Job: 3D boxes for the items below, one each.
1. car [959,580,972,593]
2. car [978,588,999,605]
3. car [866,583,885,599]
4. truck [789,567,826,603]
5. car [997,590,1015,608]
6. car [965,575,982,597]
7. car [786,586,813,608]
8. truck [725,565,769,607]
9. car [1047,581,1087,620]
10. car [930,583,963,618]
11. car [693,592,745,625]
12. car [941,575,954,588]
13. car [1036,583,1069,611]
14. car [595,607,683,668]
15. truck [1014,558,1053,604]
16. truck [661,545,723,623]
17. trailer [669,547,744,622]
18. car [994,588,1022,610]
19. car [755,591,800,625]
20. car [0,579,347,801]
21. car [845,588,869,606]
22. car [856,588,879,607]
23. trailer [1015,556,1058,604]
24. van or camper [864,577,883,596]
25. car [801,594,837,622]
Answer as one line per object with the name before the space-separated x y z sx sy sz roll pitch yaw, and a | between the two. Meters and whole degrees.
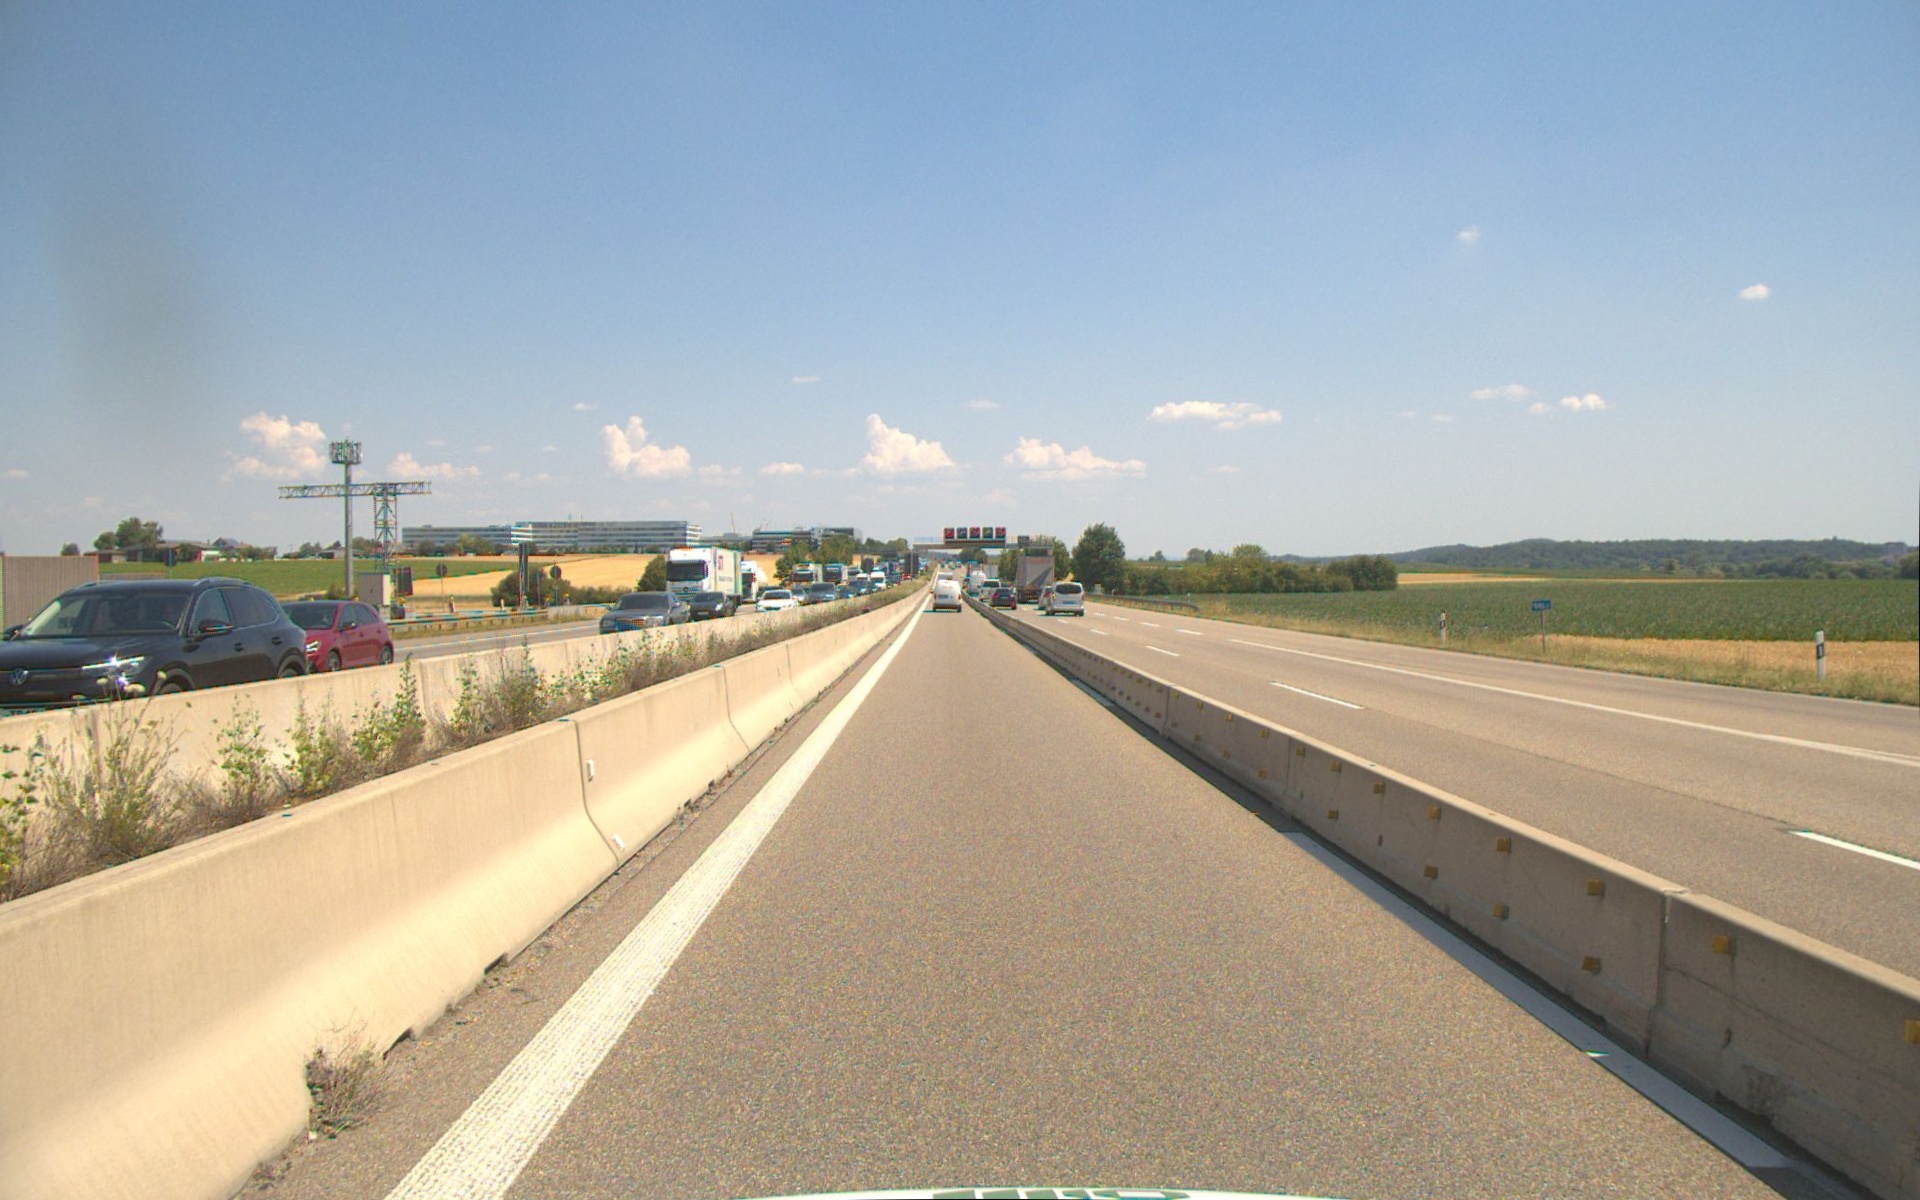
car | 0.882 -2.095 258.874 1.953 1.867 3.999 0 0 -1
car | 2.539 -0.317 146.968 1.737 1.472 3.999 0 0 -1
car | -8.693 -0.988 170.407 1.746 1.617 4.540 0 1 -1
truck | -16.500 -1.632 179.468 2.738 3.672 13.288 -2 1 0
car | 5.455 -0.094 195.222 1.953 2.049 3.999 0 0 -1
car | 1.532 -1.566 187.808 1.737 2.434 3.999 0 0 -1
car | -12.173 -0.242 125.910 1.622 1.680 4.665 0 1 -1
truck | -20.974 -1.375 163.713 2.841 3.842 13.285 -3 1 -2
car | 6.026 0.042 93.575 1.953 2.157 3.999 0 0 -1
car | -0.808 0.039 98.374 1.953 2.049 3.999 0 0 -1
car | -11.451 0.382 78.841 1.775 1.512 4.962 0 0 -1
car | -1.822 -2.707 245.491 1.953 1.867 3.999 0 0 -1
car | 6.257 -0.192 112.598 1.953 1.825 3.999 0 0 -1
car | -8.556 0.969 44.319 1.622 1.545 3.999 0 0 -1
truck | 6.546 -1.654 148.060 3.204 4.036 4.911 0 0 -1
truck | -16.056 -0.967 99.341 2.812 4.451 4.902 -2 0 -1
trailer | -16.158 -0.977 106.238 2.834 4.451 12.991 -2 0 -1
car | 3.277 -0.052 113.152 1.737 1.472 3.999 0 0 -1
car | -8.457 0.351 77.045 1.640 1.545 4.507 0 0 -1
car | -7.649 0.700 15.728 1.953 1.790 4.644 0 1 -1
car | -8.174 -0.255 131.644 1.622 1.375 4.266 0 1 -1
car | -8.188 -0.235 146.674 1.806 1.597 5.344 0 1 -1
trailer | 6.609 -1.673 143.817 3.211 4.036 9.111 0 0 -1
van or camper | -10.434 -1.622 199.032 1.994 2.260 7.207 1 1 -1
car | -8.624 0.473 101.240 1.851 1.645 4.820 0 0 -1
